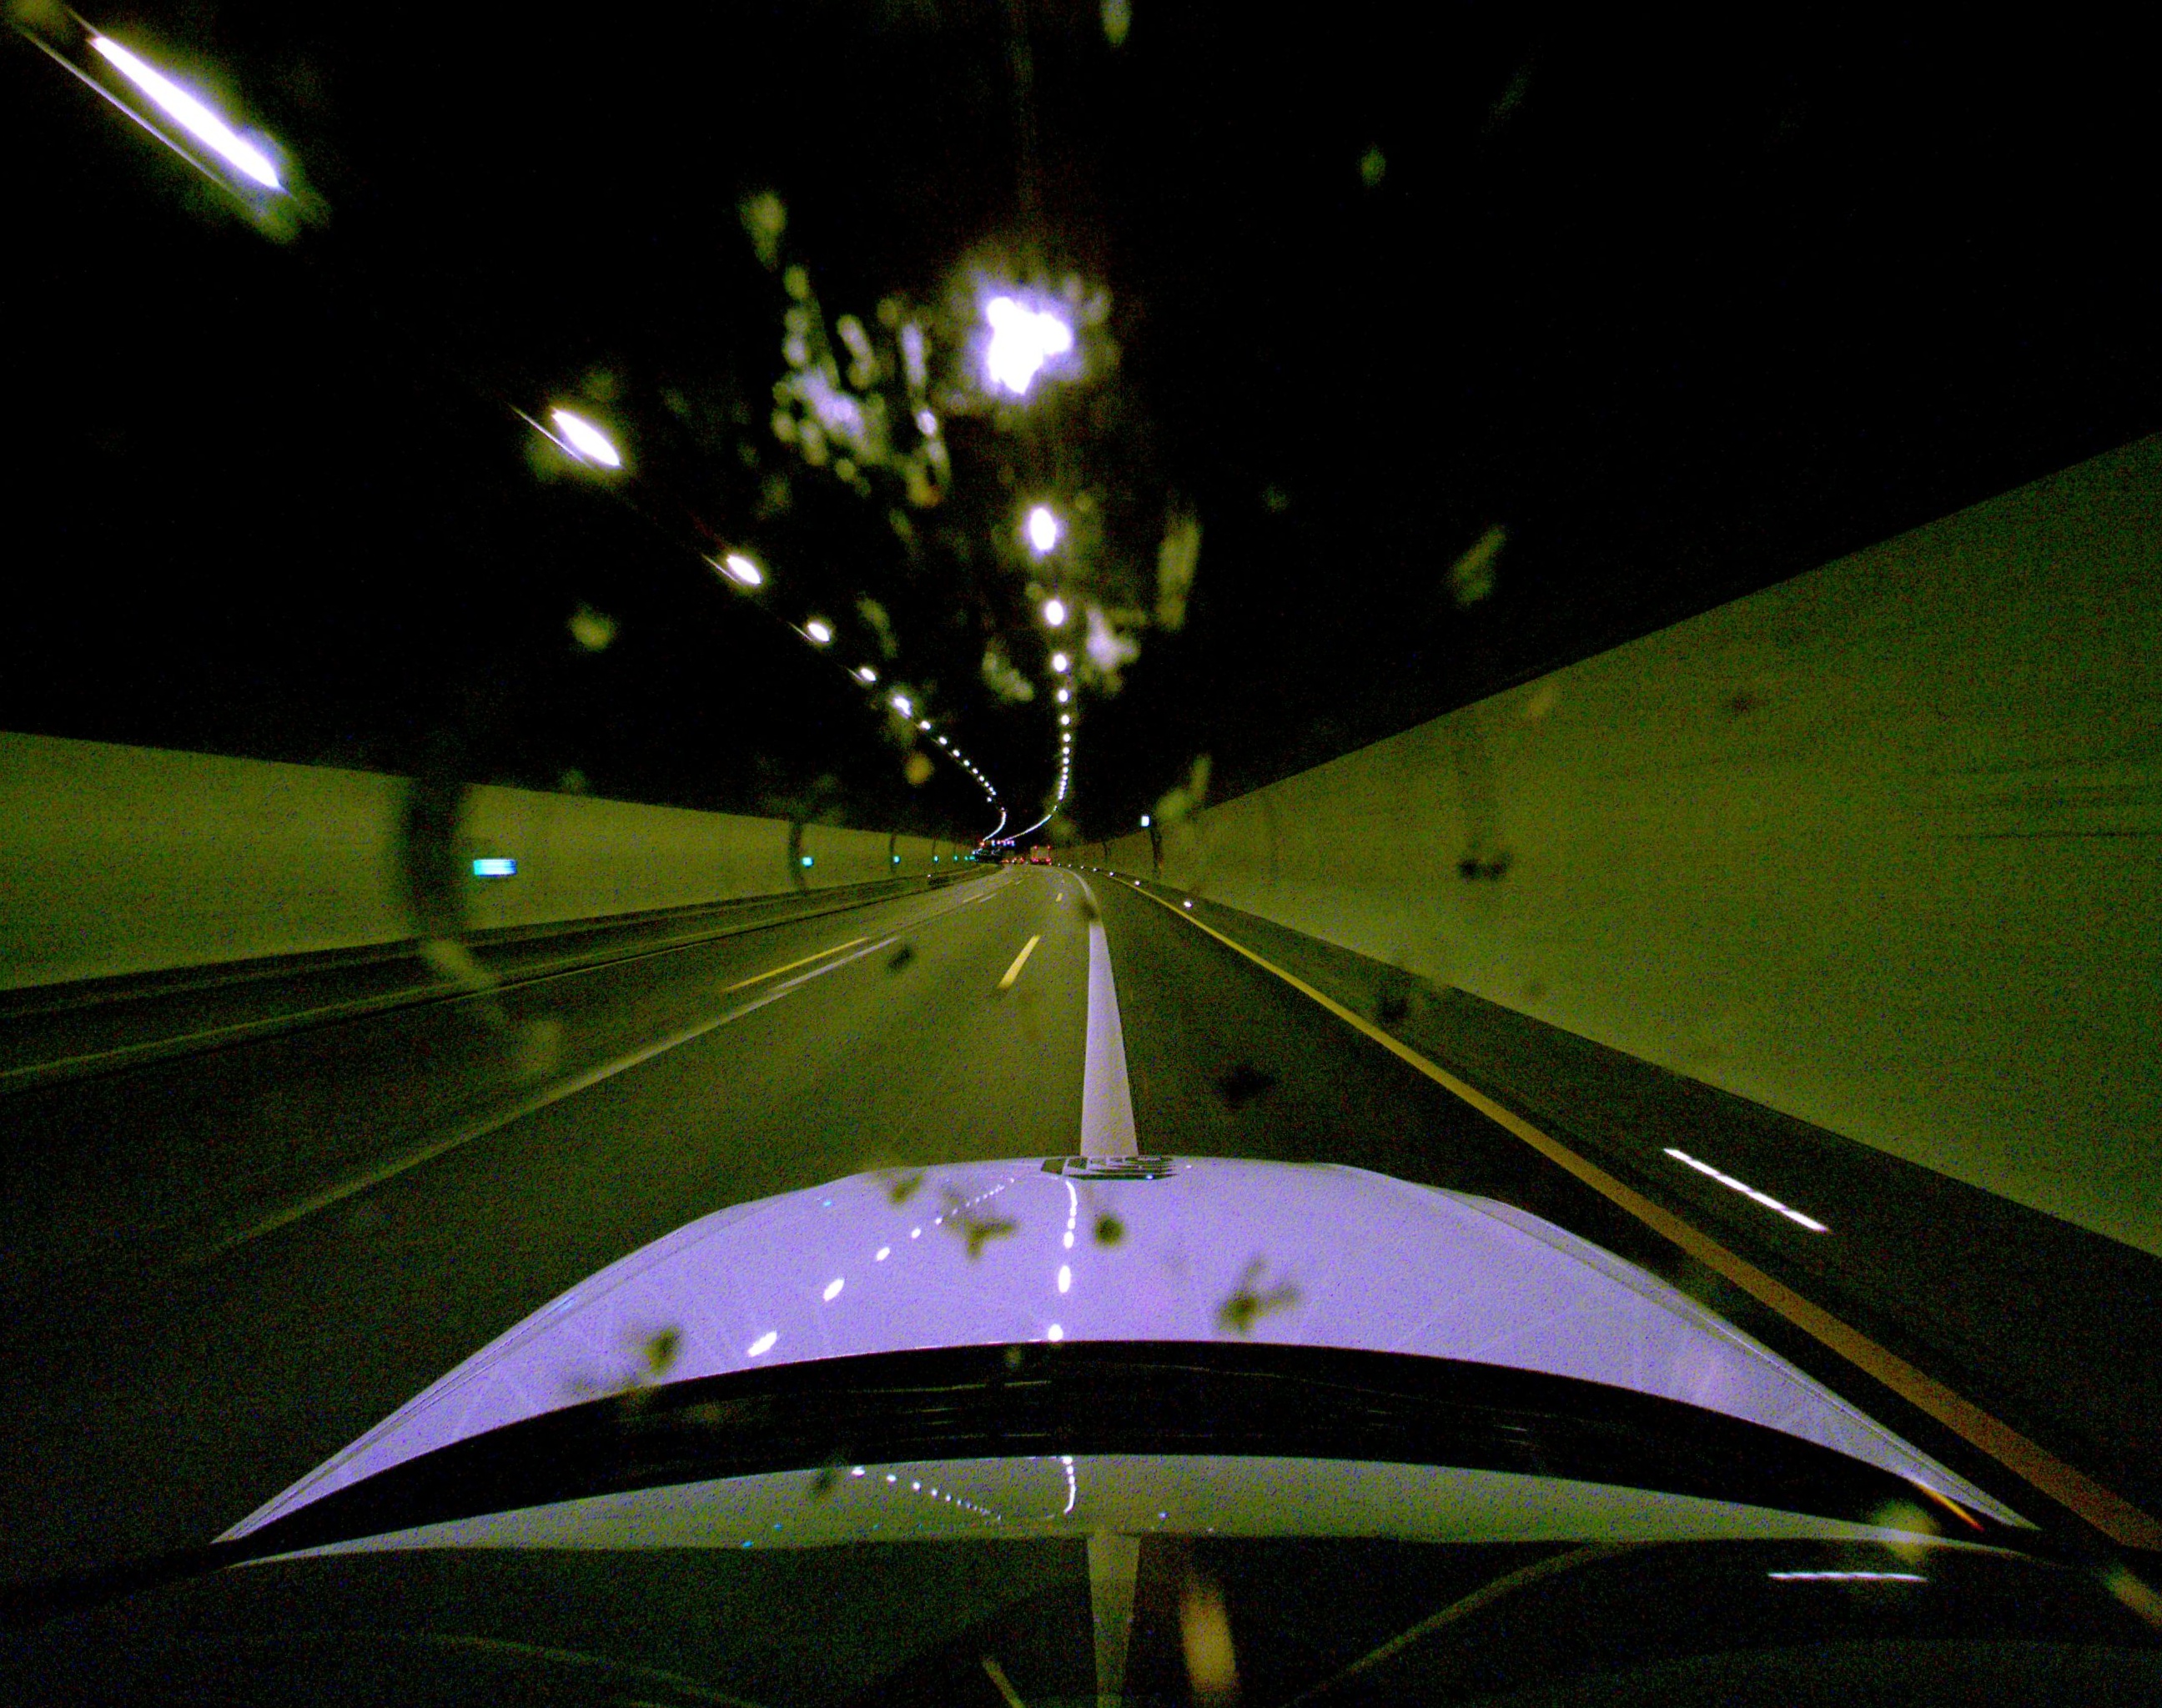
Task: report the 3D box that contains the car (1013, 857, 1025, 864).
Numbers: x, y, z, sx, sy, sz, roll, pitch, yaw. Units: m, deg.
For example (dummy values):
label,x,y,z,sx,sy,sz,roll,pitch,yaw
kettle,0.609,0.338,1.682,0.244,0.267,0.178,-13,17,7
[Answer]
label,x,y,z,sx,sy,sz,roll,pitch,yaw
car,-13.107,1.382,171.633,1.994,1.582,3.986,1,-1,-10

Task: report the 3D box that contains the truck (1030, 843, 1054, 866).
label,x,y,z,sx,sy,sz,roll,pitch,yaw
truck,-7.723,0.160,158.025,3.473,4.316,10.916,0,0,-9

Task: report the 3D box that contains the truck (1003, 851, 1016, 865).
label,x,y,z,sx,sy,sz,roll,pitch,yaw
truck,-22.476,1.275,255.854,3.473,4.316,10.916,0,0,-9
